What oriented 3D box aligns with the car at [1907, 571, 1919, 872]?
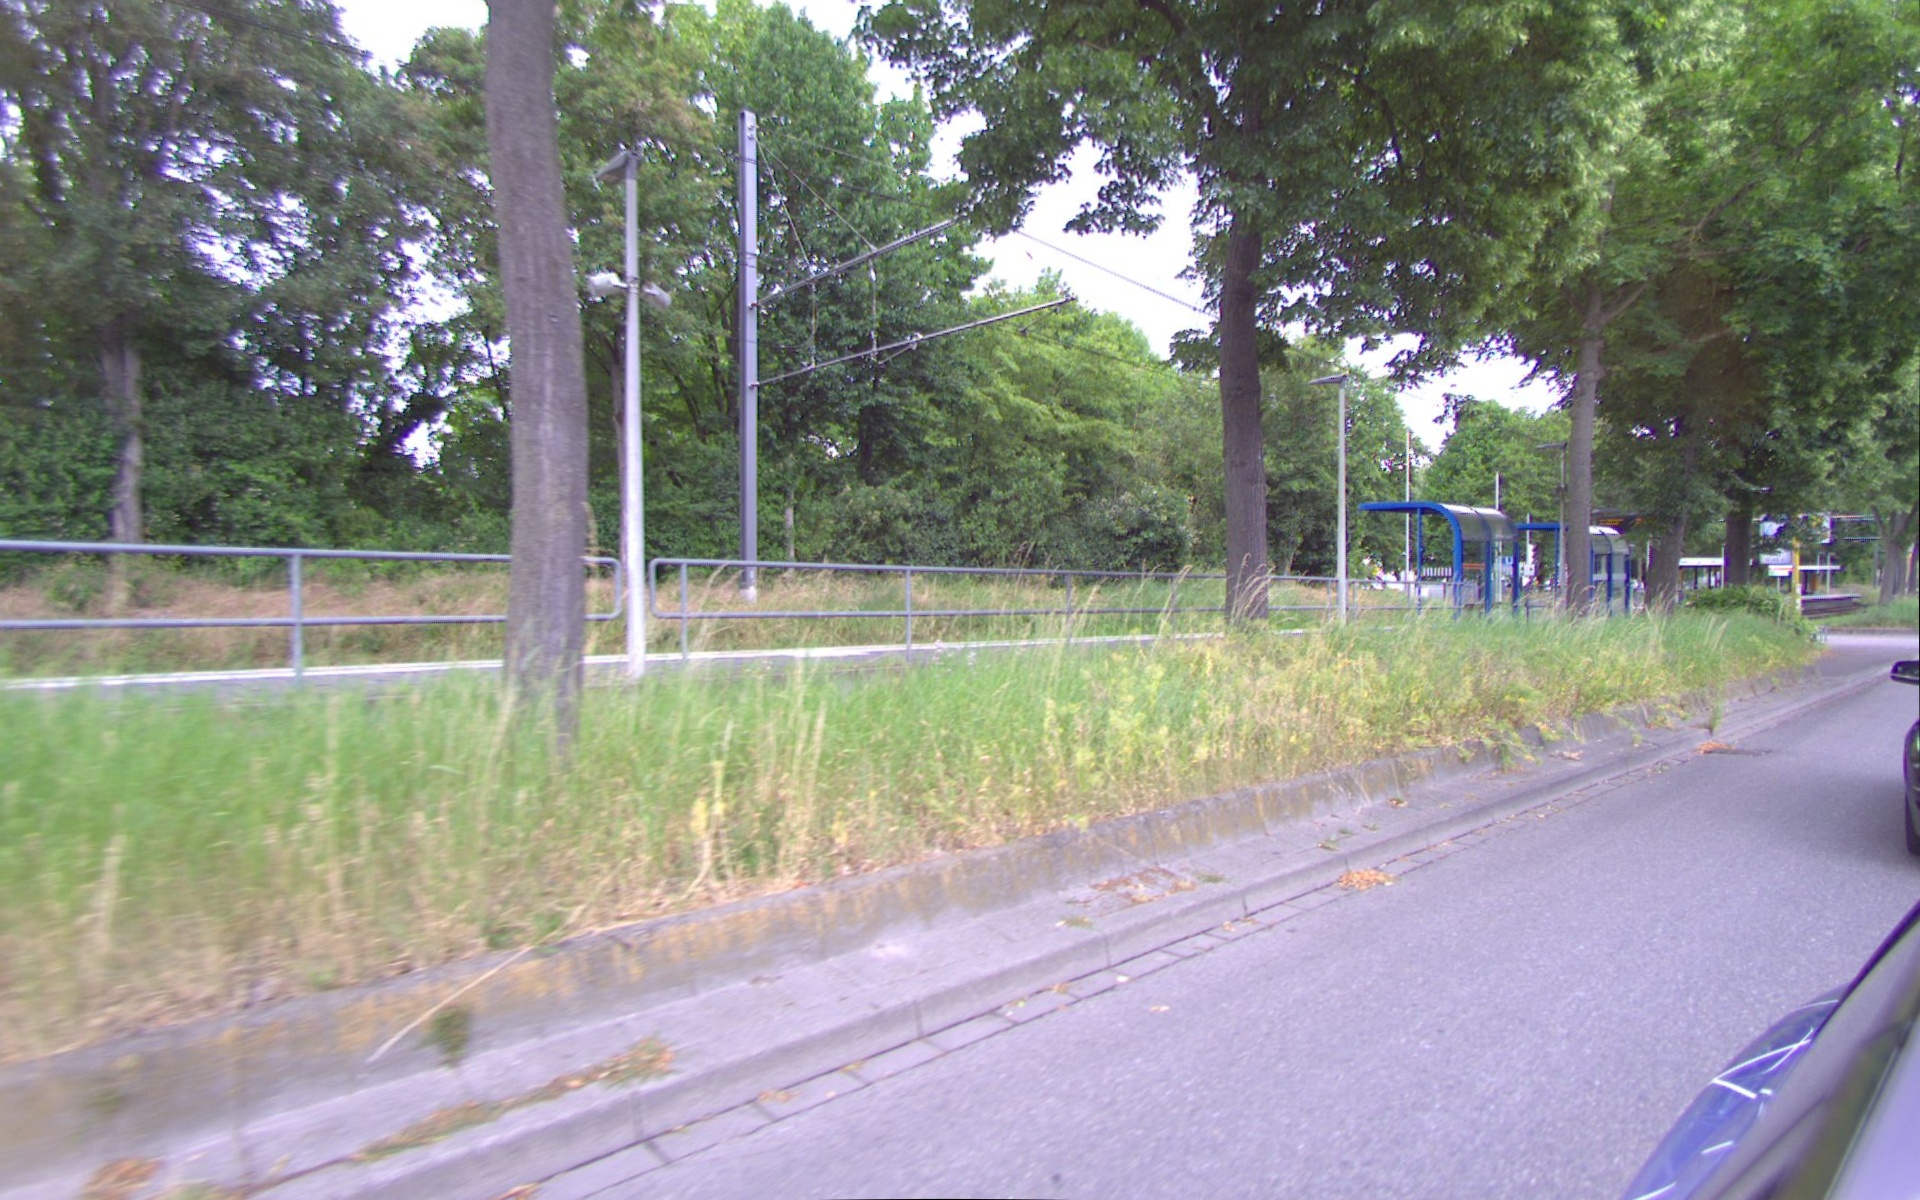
[{"bbox_3d":[7.251,0.625,6.256,4.406,1.594,1.681,0,0,-42],"label":"car"}]
